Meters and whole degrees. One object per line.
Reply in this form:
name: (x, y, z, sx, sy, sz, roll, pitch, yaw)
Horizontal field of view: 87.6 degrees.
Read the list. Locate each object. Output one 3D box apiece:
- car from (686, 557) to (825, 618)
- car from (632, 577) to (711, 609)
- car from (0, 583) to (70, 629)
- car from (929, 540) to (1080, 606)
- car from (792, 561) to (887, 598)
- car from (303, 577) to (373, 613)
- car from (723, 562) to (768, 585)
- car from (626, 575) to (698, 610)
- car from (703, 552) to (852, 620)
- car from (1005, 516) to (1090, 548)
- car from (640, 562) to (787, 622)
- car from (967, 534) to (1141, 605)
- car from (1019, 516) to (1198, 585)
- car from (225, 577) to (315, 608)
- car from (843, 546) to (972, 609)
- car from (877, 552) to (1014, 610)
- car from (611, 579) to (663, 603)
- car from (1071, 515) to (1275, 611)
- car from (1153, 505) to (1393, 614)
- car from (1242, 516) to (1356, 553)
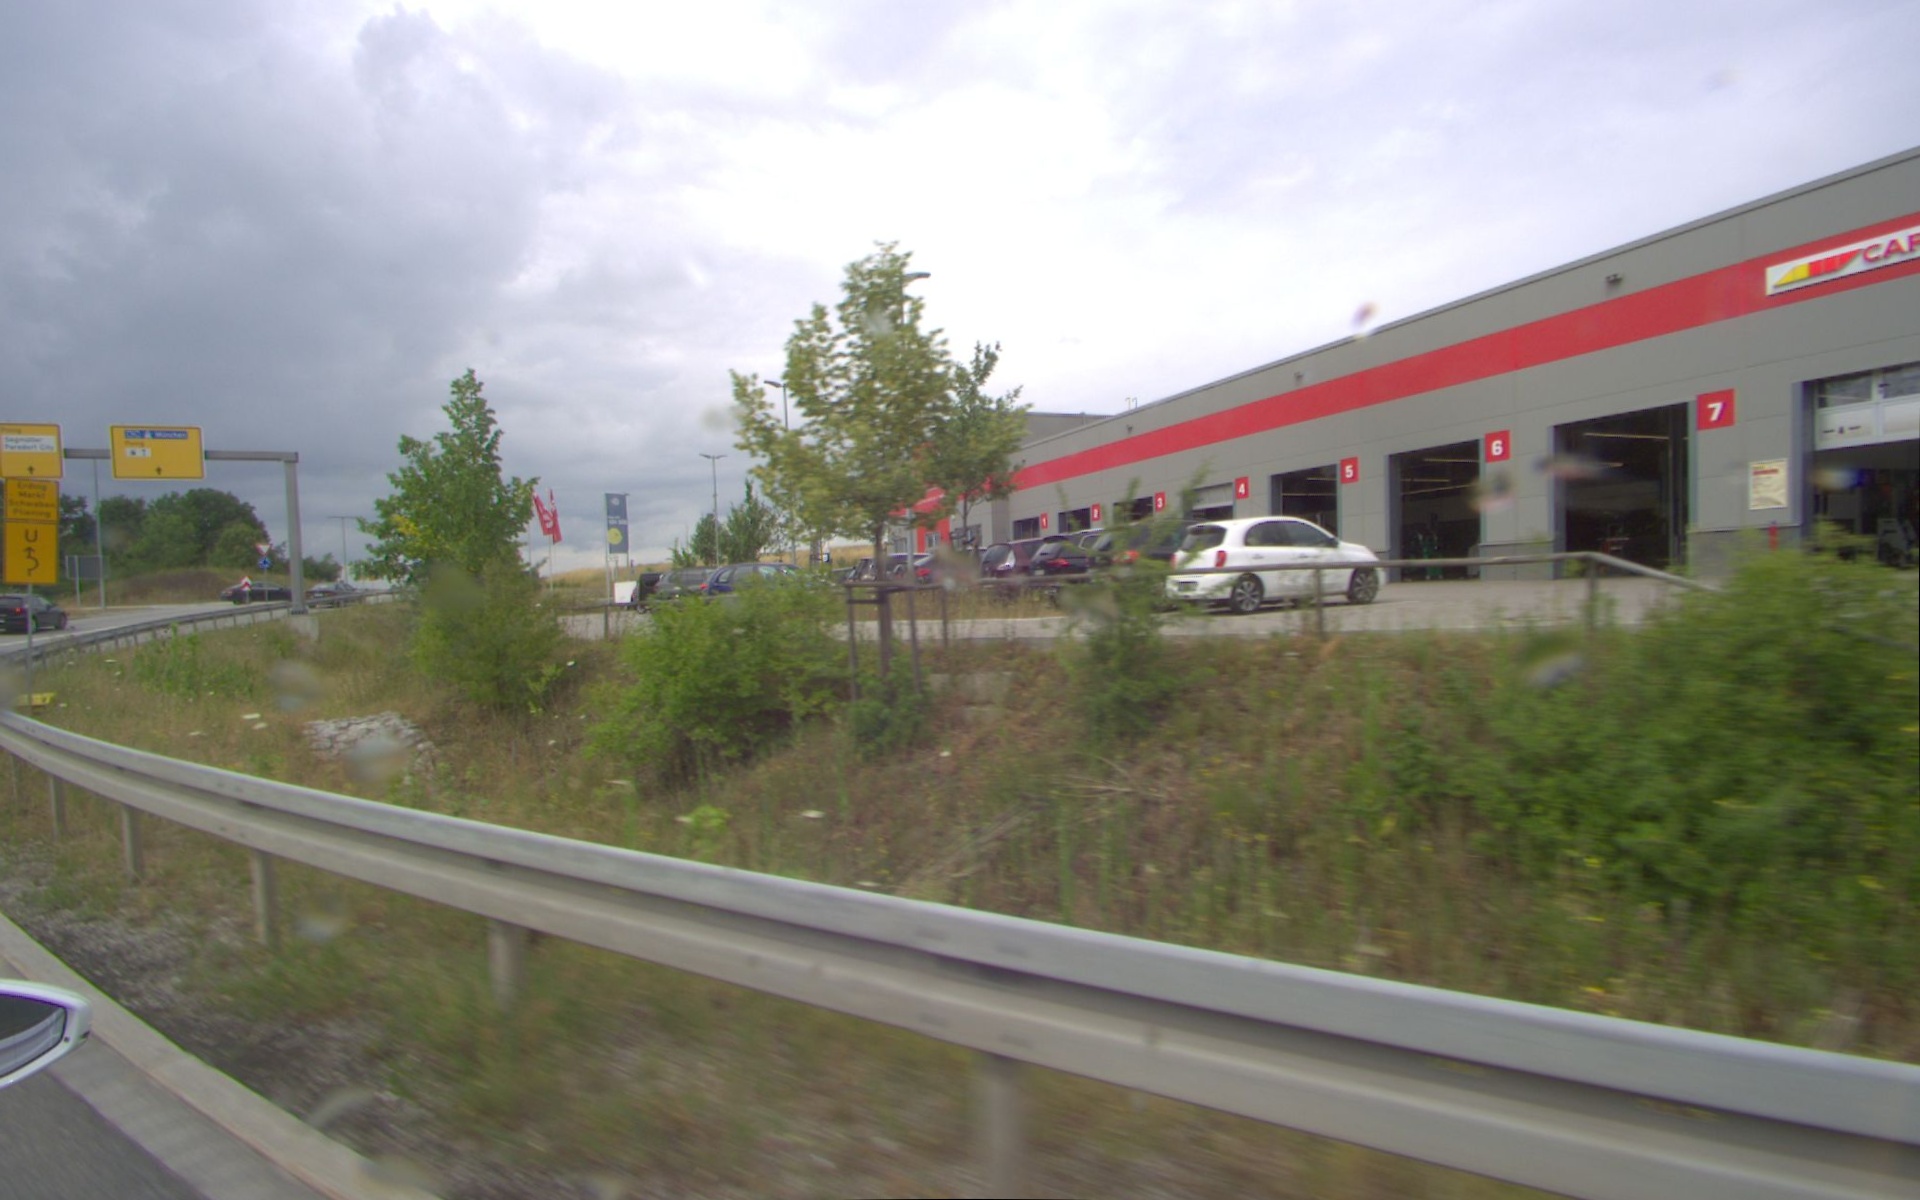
car: (-6.316, -0.381, 30.991, 3.742, 1.629, 1.754, -3, 2, 18)
car: (-14.900, -0.372, 51.773, 3.573, 1.439, 1.610, -3, 2, 17)
car: (-34.841, 0.197, 36.998, 1.845, 1.626, 3.721, 2, 0, -24)
car: (1.256, -0.759, 28.288, 3.832, 1.651, 1.715, -4, 1, -24)
car: (-5.388, -0.908, 44.844, 3.900, 1.408, 1.590, -4, 2, -22)
car: (-34.504, -0.334, 55.684, 1.627, 1.863, 3.954, -2, 2, -5)
car: (-16.047, -1.989, 74.839, 1.679, 1.567, 3.623, -2, 1, -44)
car: (-16.254, -0.409, 54.704, 3.400, 1.646, 1.547, -3, 2, 17)
car: (-5.111, -0.400, 28.071, 3.700, 1.660, 1.663, -3, 2, 19)
car: (4.353, -3.372, 49.957, 3.846, 1.537, 1.790, -1, 4, -20)
car: (-8.418, -0.281, 34.335, 4.468, 1.758, 1.829, -3, 2, 15)
car: (2.249, -0.739, 23.712, 3.827, 1.559, 1.668, -2, 2, -29)
car: (3.151, -1.040, 21.315, 3.387, 1.352, 1.639, -2, 1, -21)
car: (-42.865, -0.485, 62.308, 1.873, 1.807, 4.136, 0, 2, 29)
car: (-1.726, -0.741, 32.968, 3.798, 1.844, 1.715, -4, 1, -24)
car: (-0.444, -0.592, 31.086, 3.832, 1.555, 1.715, -4, 1, -24)
car: (-22.639, -0.632, 70.242, 3.534, 1.648, 1.635, 0, 3, 35)
car: (4.009, -0.687, 18.903, 3.389, 1.657, 1.726, -2, 1, -23)
car: (5.235, -0.691, 16.757, 3.567, 1.559, 1.638, -4, 2, -22)
car: (12.575, -2.401, 37.153, 3.846, 1.241, 1.657, -1, 0, -21)
